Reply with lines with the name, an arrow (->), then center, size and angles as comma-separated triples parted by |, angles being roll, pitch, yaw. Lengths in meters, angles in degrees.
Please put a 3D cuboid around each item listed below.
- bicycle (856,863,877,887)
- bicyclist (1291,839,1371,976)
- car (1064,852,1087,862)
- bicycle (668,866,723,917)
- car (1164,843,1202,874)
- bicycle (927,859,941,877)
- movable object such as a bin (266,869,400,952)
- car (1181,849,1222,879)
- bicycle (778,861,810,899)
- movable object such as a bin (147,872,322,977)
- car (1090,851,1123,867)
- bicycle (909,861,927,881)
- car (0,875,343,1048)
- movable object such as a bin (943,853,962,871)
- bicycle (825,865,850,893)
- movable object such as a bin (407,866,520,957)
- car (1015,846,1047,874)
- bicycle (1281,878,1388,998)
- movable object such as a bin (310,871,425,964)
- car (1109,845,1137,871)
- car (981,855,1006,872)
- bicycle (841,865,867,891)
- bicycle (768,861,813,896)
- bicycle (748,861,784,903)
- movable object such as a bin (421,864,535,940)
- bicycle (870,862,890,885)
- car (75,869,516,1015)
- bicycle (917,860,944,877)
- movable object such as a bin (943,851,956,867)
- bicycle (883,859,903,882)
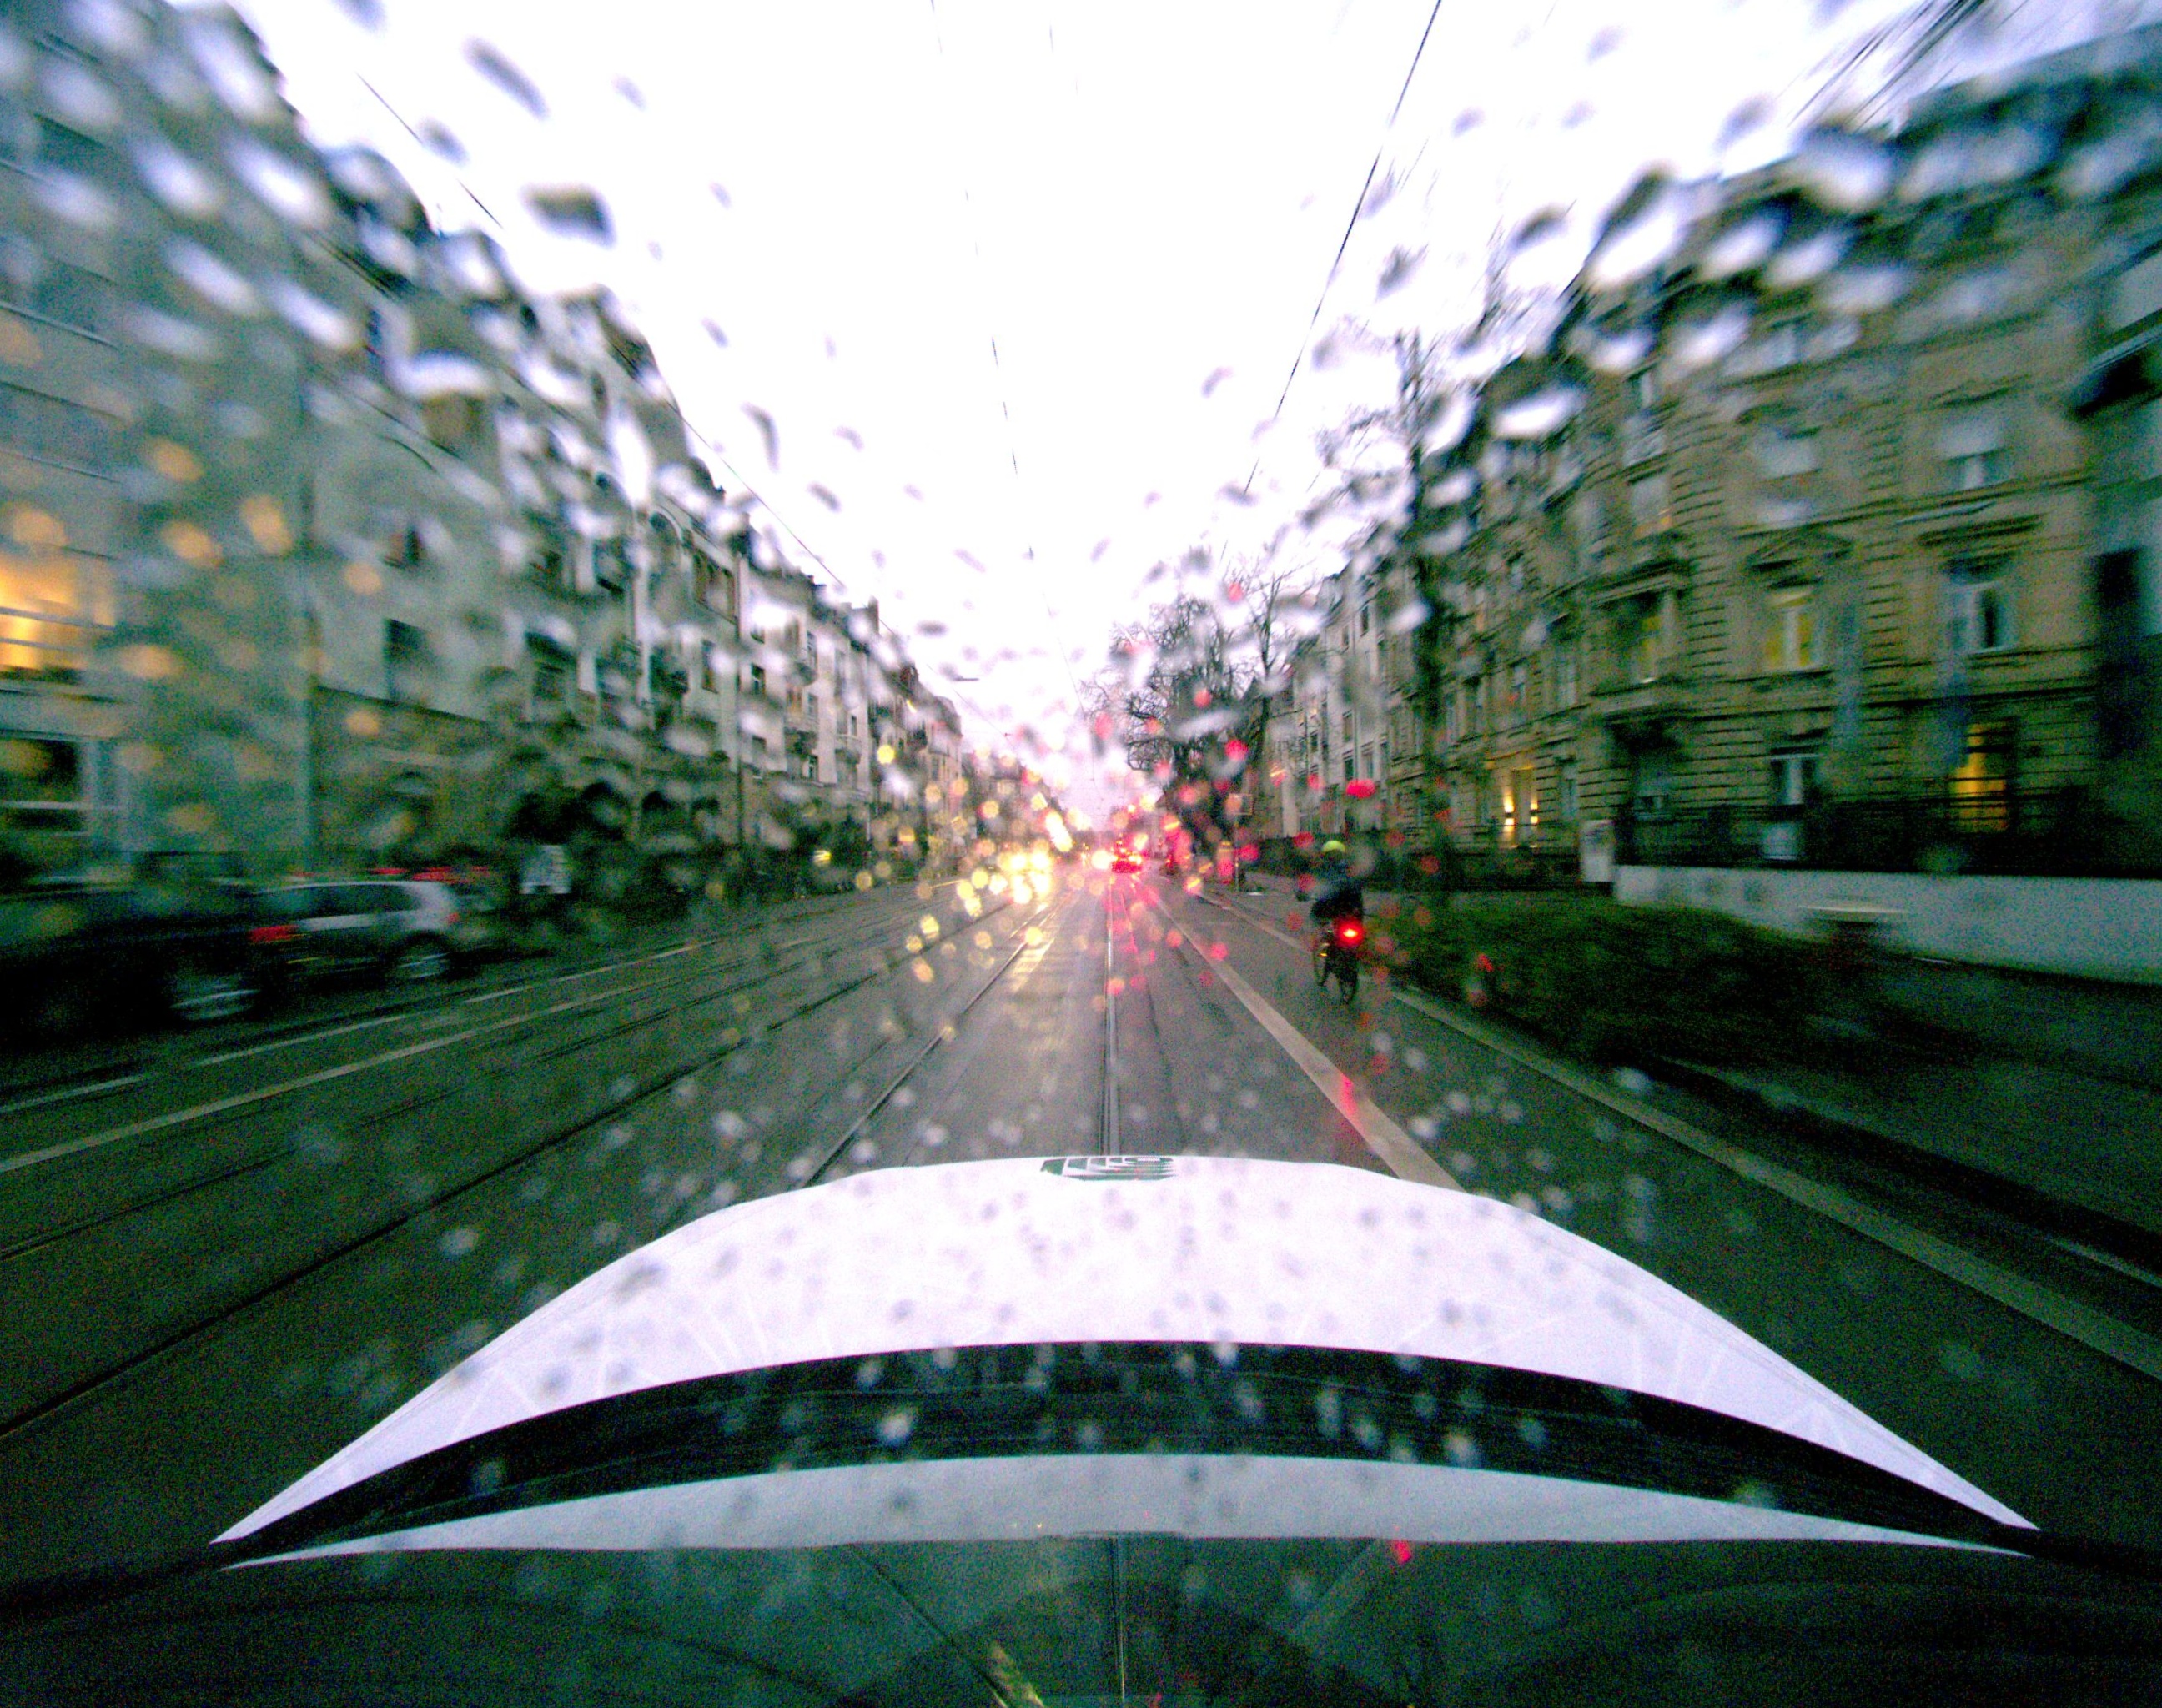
bicycle -> -9.606, 0.931, 36.543 | 0.691, 1.031, 1.592 | -2, -1, -7
bicyclist -> 2.766, 0.564, 9.076 | 0.653, 1.446, 0.850 | -2, 1, 4
car -> -1.083, 0.548, 149.897 | 3.982, 1.716, 1.900 | -2, 1, -6
bicycle -> -9.951, 0.954, 21.098 | 0.690, 1.212, 1.595 | -2, 1, -3
car -> 6.821, 0.243, 55.123 | 1.986, 1.900, 5.028 | -2, 1, 1
bicycle -> -9.164, 0.854, 50.779 | 0.613, 1.080, 1.809 | -2, 1, -3
movable object such as a bin -> -14.263, 1.048, 15.577 | 1.255, 1.450, 1.329 | -2, 1, 9
car -> 6.362, 0.505, 43.349 | 1.671, 1.460, 4.043 | -2, 0, 1
bicycle -> -9.961, 0.874, 28.288 | 0.691, 1.212, 1.592 | -2, 1, -7
movable object such as a bin -> -12.911, 1.051, 12.484 | 1.255, 1.450, 1.329 | -2, 1, 9
car -> 3.139, 0.595, 100.246 | 3.970, 1.727, 1.741 | -2, 1, 3
bicycle -> -9.196, 0.936, 45.966 | 0.623, 1.017, 1.806 | -2, 1, 1
car -> -10.267, 1.037, 8.290 | 4.023, 1.470, 1.809 | -2, 1, -43
movable object such as a bin -> -11.450, 0.695, 72.798 | 1.403, 1.530, 1.365 | -2, 1, 2
bicycle -> -9.769, 1.009, 32.698 | 0.691, 1.031, 1.590 | -2, -3, -7
movable object such as a bin -> -10.840, 0.977, 14.367 | 1.267, 1.450, 1.104 | -2, 1, -20
car -> -3.774, 0.433, 62.173 | 2.040, 1.922, 5.099 | -2, 1, 0
bicycle -> 2.804, 0.882, 9.222 | 0.704, 1.096, 2.032 | -2, 1, 5
movable object such as a bin -> -12.133, 1.042, 13.906 | 1.092, 1.450, 1.104 | -2, 1, -20
car -> 3.176, 0.308, 62.693 | 1.986, 1.897, 4.759 | 0, -1, 1
car -> -8.382, 0.912, 78.452 | 1.826, 1.447, 4.002 | -2, 1, 2
bicycle -> -9.682, 1.040, 34.793 | 0.690, 1.031, 1.594 | -2, -3, -3
bicycle -> -11.366, 0.962, 31.870 | 1.582, 1.264, 0.490 | -2, -5, 5
bicycle -> -9.890, 0.858, 25.619 | 0.629, 1.212, 1.592 | -2, 1, -7
movable object such as a bin -> -12.408, 0.968, 16.815 | 1.255, 1.450, 1.329 | -2, 1, 9
bicycle -> -9.523, 0.899, 38.583 | 0.691, 1.031, 1.592 | -2, 0, -7
car -> -10.281, 1.022, 11.109 | 4.022, 1.428, 1.826 | -3, 1, -41
bicycle -> -10.571, 1.012, 57.217 | 1.802, 1.080, 0.615 | -2, 1, -5
movable object such as a bin -> -13.517, 0.485, 83.850 | 1.009, 1.600, 1.082 | -2, 1, 4
bicycle -> -9.437, 0.826, 40.912 | 0.484, 1.099, 1.931 | -2, 0, 1
